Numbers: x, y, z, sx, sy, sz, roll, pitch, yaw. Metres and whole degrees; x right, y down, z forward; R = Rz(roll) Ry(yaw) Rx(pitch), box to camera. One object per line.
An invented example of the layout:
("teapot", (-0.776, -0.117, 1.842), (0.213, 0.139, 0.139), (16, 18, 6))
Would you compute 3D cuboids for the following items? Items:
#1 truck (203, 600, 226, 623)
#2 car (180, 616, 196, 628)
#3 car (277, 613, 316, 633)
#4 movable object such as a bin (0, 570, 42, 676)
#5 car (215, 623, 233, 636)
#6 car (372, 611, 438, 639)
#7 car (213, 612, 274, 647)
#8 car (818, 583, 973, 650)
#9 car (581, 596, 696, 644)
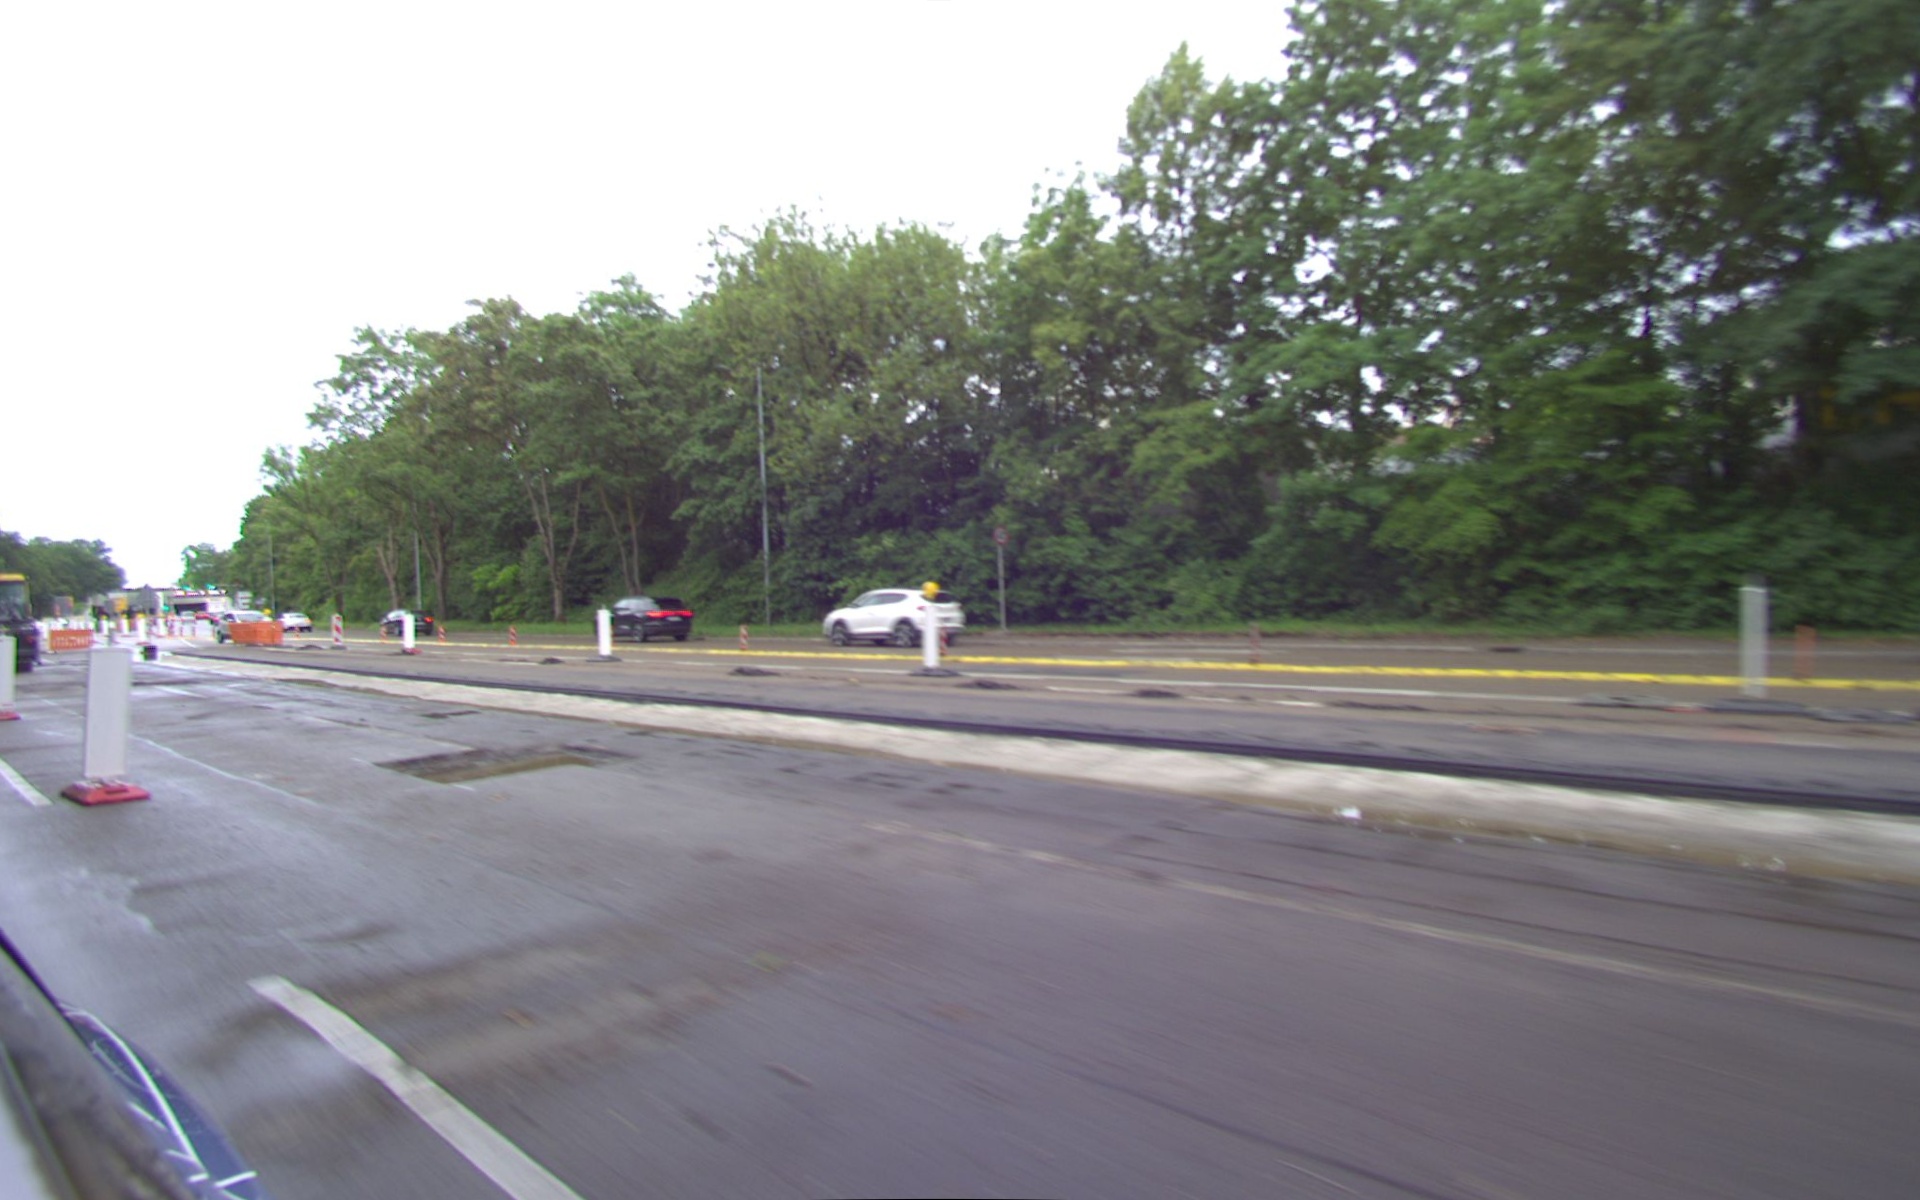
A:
("truck", (-131.677, 2.028, 178.836), (3.102, 3.860, 9.668), (-1, 0, -36))
("car", (-106.501, 3.088, 139.603), (1.653, 1.626, 3.777), (0, -1, -38))
("car", (-49.628, 1.693, 75.669), (1.762, 1.437, 4.475), (-2, 0, -41))
("movable object such as a bin", (-29.339, 0.692, 30.745), (5.247, 3.008, 1.784), (-1, 0, 44))
("car", (-89.688, 3.618, 123.342), (1.600, 1.495, 3.614), (0, -1, -39))
("car", (-31.283, 1.414, 56.964), (4.679, 1.463, 1.765), (-1, 0, 41))
("car", (-36.325, 1.481, 51.291), (3.861, 1.596, 1.770), (-1, 1, 44))
("car", (-1.899, 0.456, 28.860), (4.376, 1.764, 1.759), (-1, 0, 40))
("car", (-12.113, 0.753, 37.969), (4.911, 1.676, 1.759), (-1, -1, 40))
